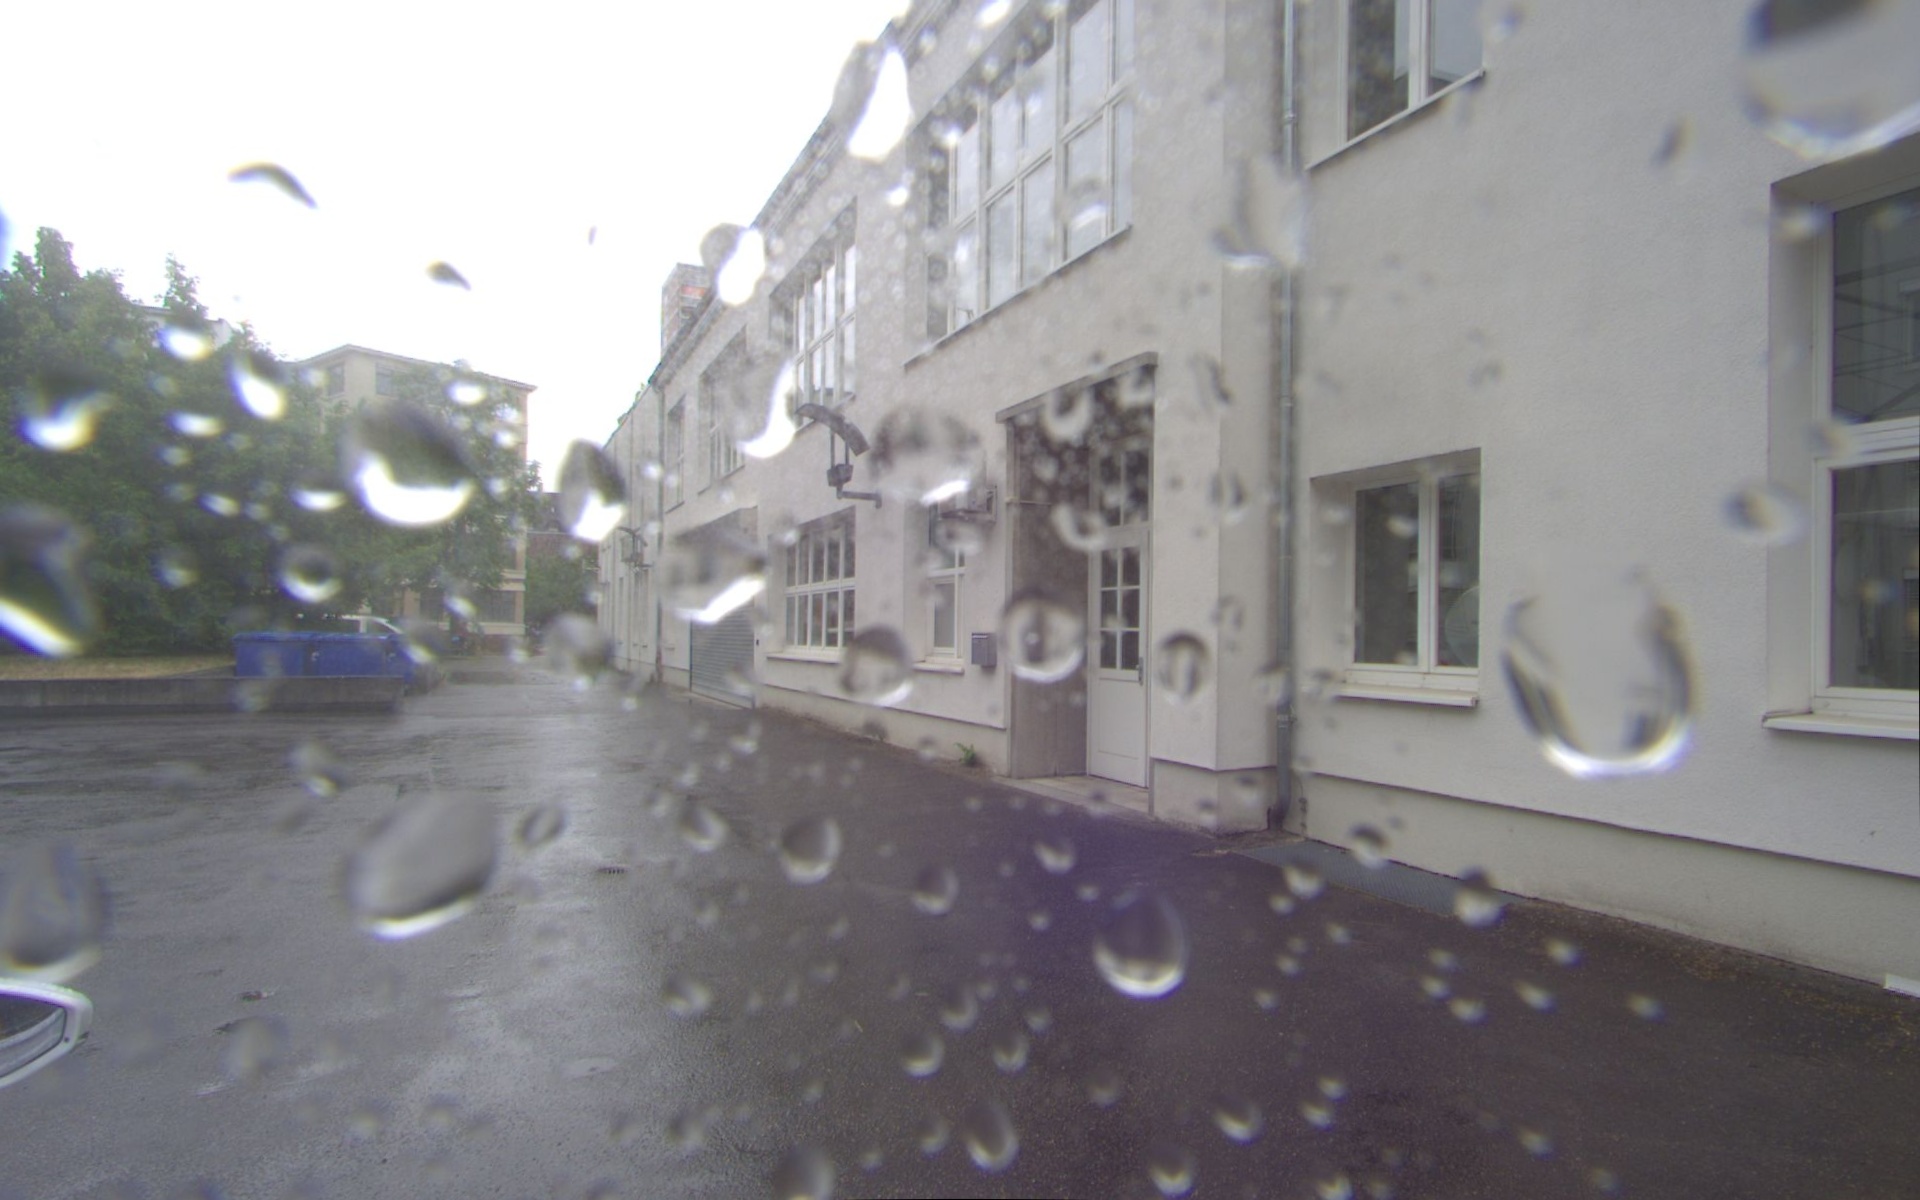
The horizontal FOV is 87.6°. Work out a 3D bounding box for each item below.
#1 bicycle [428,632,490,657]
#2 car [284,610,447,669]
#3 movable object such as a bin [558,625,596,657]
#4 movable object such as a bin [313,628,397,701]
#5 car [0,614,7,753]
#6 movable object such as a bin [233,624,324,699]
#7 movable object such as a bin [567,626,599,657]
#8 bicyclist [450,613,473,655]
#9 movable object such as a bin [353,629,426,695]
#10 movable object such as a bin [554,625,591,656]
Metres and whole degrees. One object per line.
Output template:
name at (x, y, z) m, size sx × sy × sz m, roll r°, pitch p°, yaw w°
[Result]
bicycle at (-24.529, 2.165, 49.110) m, size 0.727 × 1.201 × 2.724 m, roll 0°, pitch -1°, yaw 34°
car at (-20.478, 1.372, 34.765) m, size 4.623 × 1.904 × 2.118 m, roll 0°, pitch -4°, yaw -24°
movable object such as a bin at (-18.290, 1.956, 47.830) m, size 1.472 × 1.466 × 1.307 m, roll 0°, pitch -3°, yaw -31°
movable object such as a bin at (-12.140, 1.285, 20.173) m, size 1.293 × 1.374 × 1.898 m, roll 0°, pitch -3°, yaw -26°
car at (-11.813, 0.824, 9.099) m, size 4.162 × 1.508 × 1.990 m, roll 2°, pitch -2°, yaw -30°
movable object such as a bin at (-13.292, 1.185, 19.608) m, size 1.214 × 1.374 × 1.964 m, roll 0°, pitch -3°, yaw -26°
movable object such as a bin at (-17.478, 1.938, 46.459) m, size 1.171 × 1.391 × 1.307 m, roll 0°, pitch -3°, yaw -31°
bicyclist at (-24.474, 1.647, 49.199) m, size 0.736 × 2.040 × 0.705 m, roll 1°, pitch -1°, yaw 34°
movable object such as a bin at (-12.562, 1.351, 22.117) m, size 1.293 × 1.374 × 1.898 m, roll 0°, pitch -3°, yaw -26°
movable object such as a bin at (-18.960, 1.999, 48.993) m, size 1.472 × 1.466 × 1.307 m, roll 0°, pitch -3°, yaw -31°
